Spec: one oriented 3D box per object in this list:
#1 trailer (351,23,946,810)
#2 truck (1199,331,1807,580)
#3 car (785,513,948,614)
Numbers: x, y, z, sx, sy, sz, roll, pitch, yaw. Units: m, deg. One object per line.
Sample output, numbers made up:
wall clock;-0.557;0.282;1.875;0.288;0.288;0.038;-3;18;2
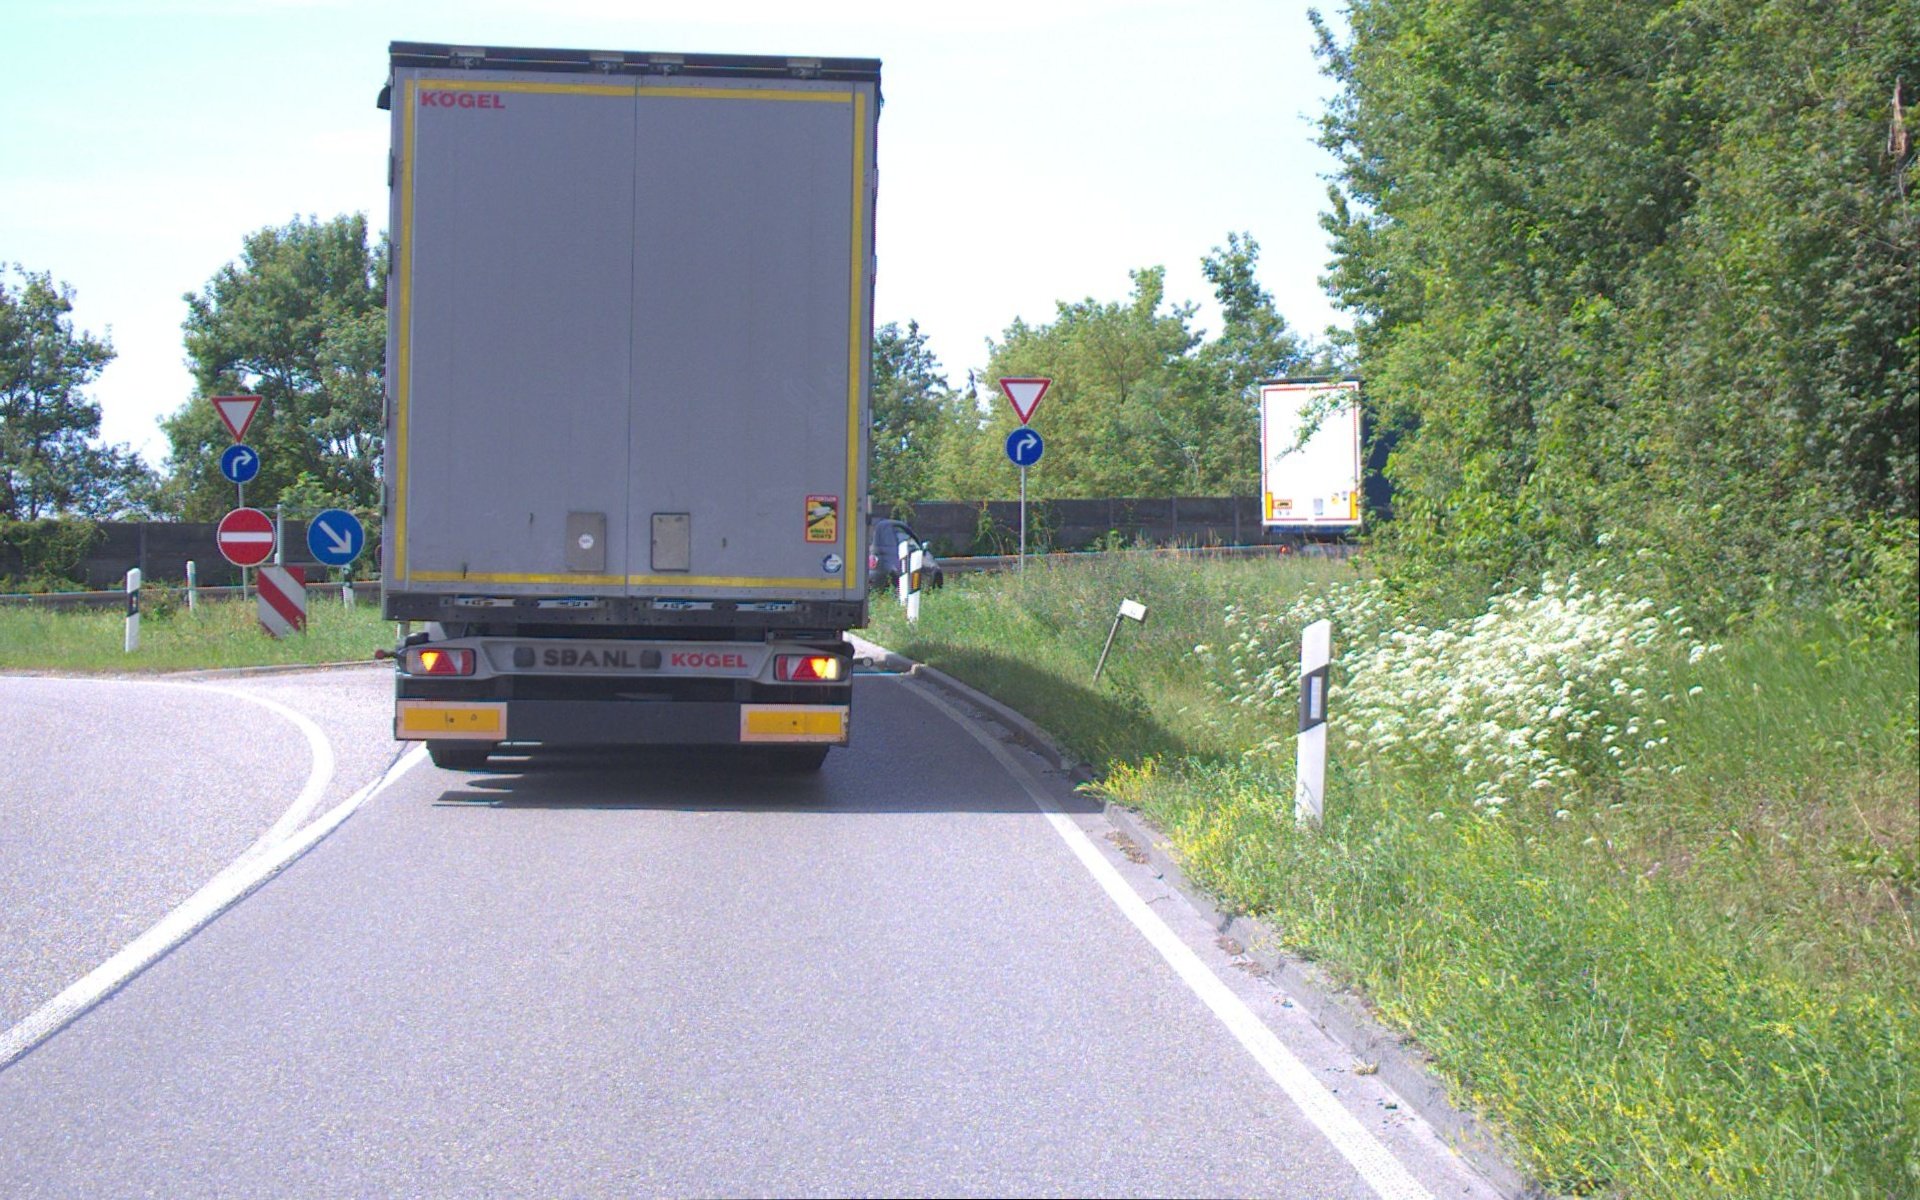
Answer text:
trailer;-2.010;-1.134;24.437;3.026;4.020;13.355;1;2;-3
truck;11.884;-3.013;72.807;16.161;4.728;3.838;-2;1;-45
car;-1.429;-0.600;54.006;1.667;1.481;3.998;-1;2;12
